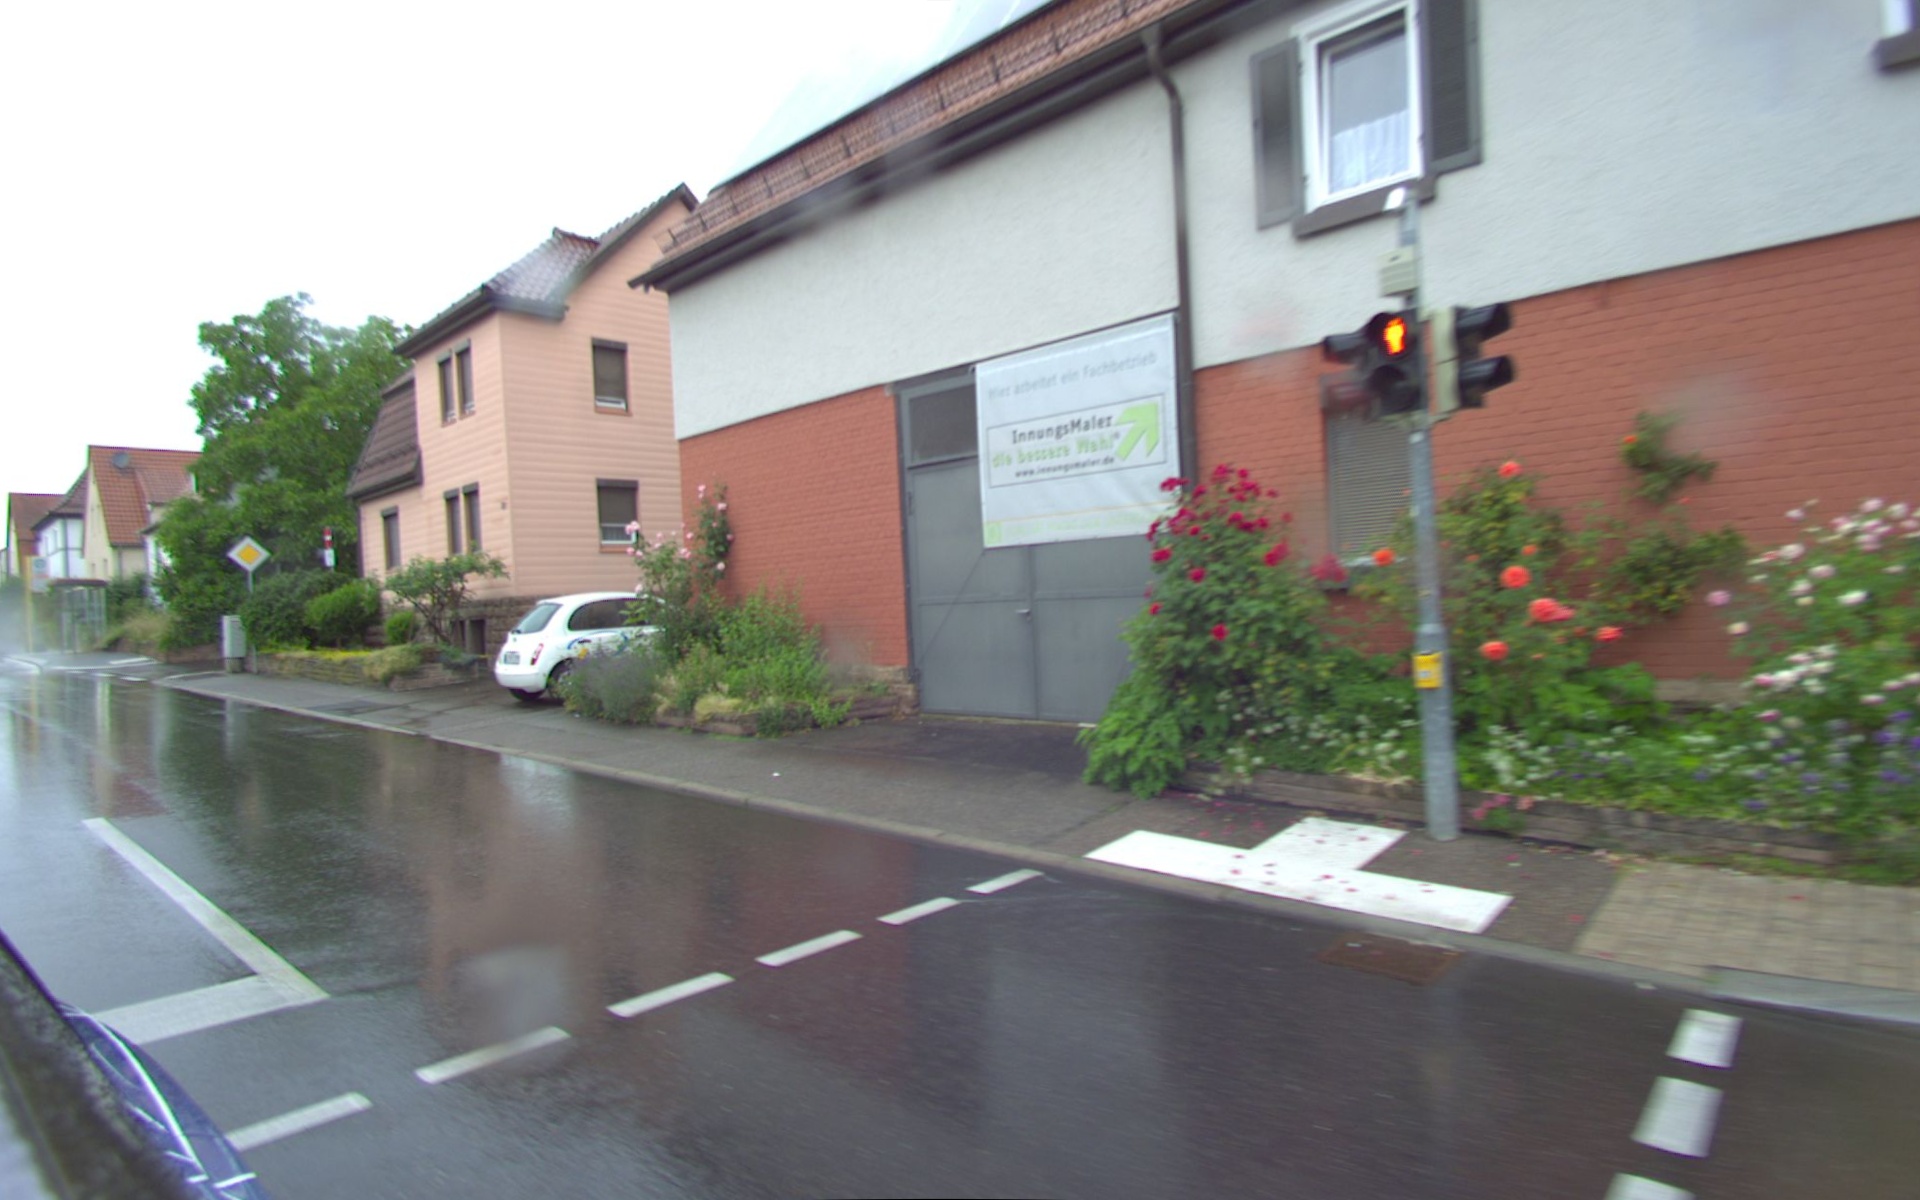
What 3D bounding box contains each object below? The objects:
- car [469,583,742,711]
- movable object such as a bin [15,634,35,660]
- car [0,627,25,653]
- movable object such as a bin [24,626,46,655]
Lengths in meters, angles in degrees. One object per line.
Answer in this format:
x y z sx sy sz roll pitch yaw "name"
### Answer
-5.321 0.633 15.468 1.663 1.540 3.507 -2 2 43 "car"
-36.934 1.848 39.969 0.454 0.946 0.463 -5 2 44 "movable object such as a bin"
-82.437 3.201 85.929 1.871 1.990 3.950 -2 -12 38 "car"
-37.011 1.603 40.501 0.528 1.090 0.547 -2 3 44 "movable object such as a bin"
